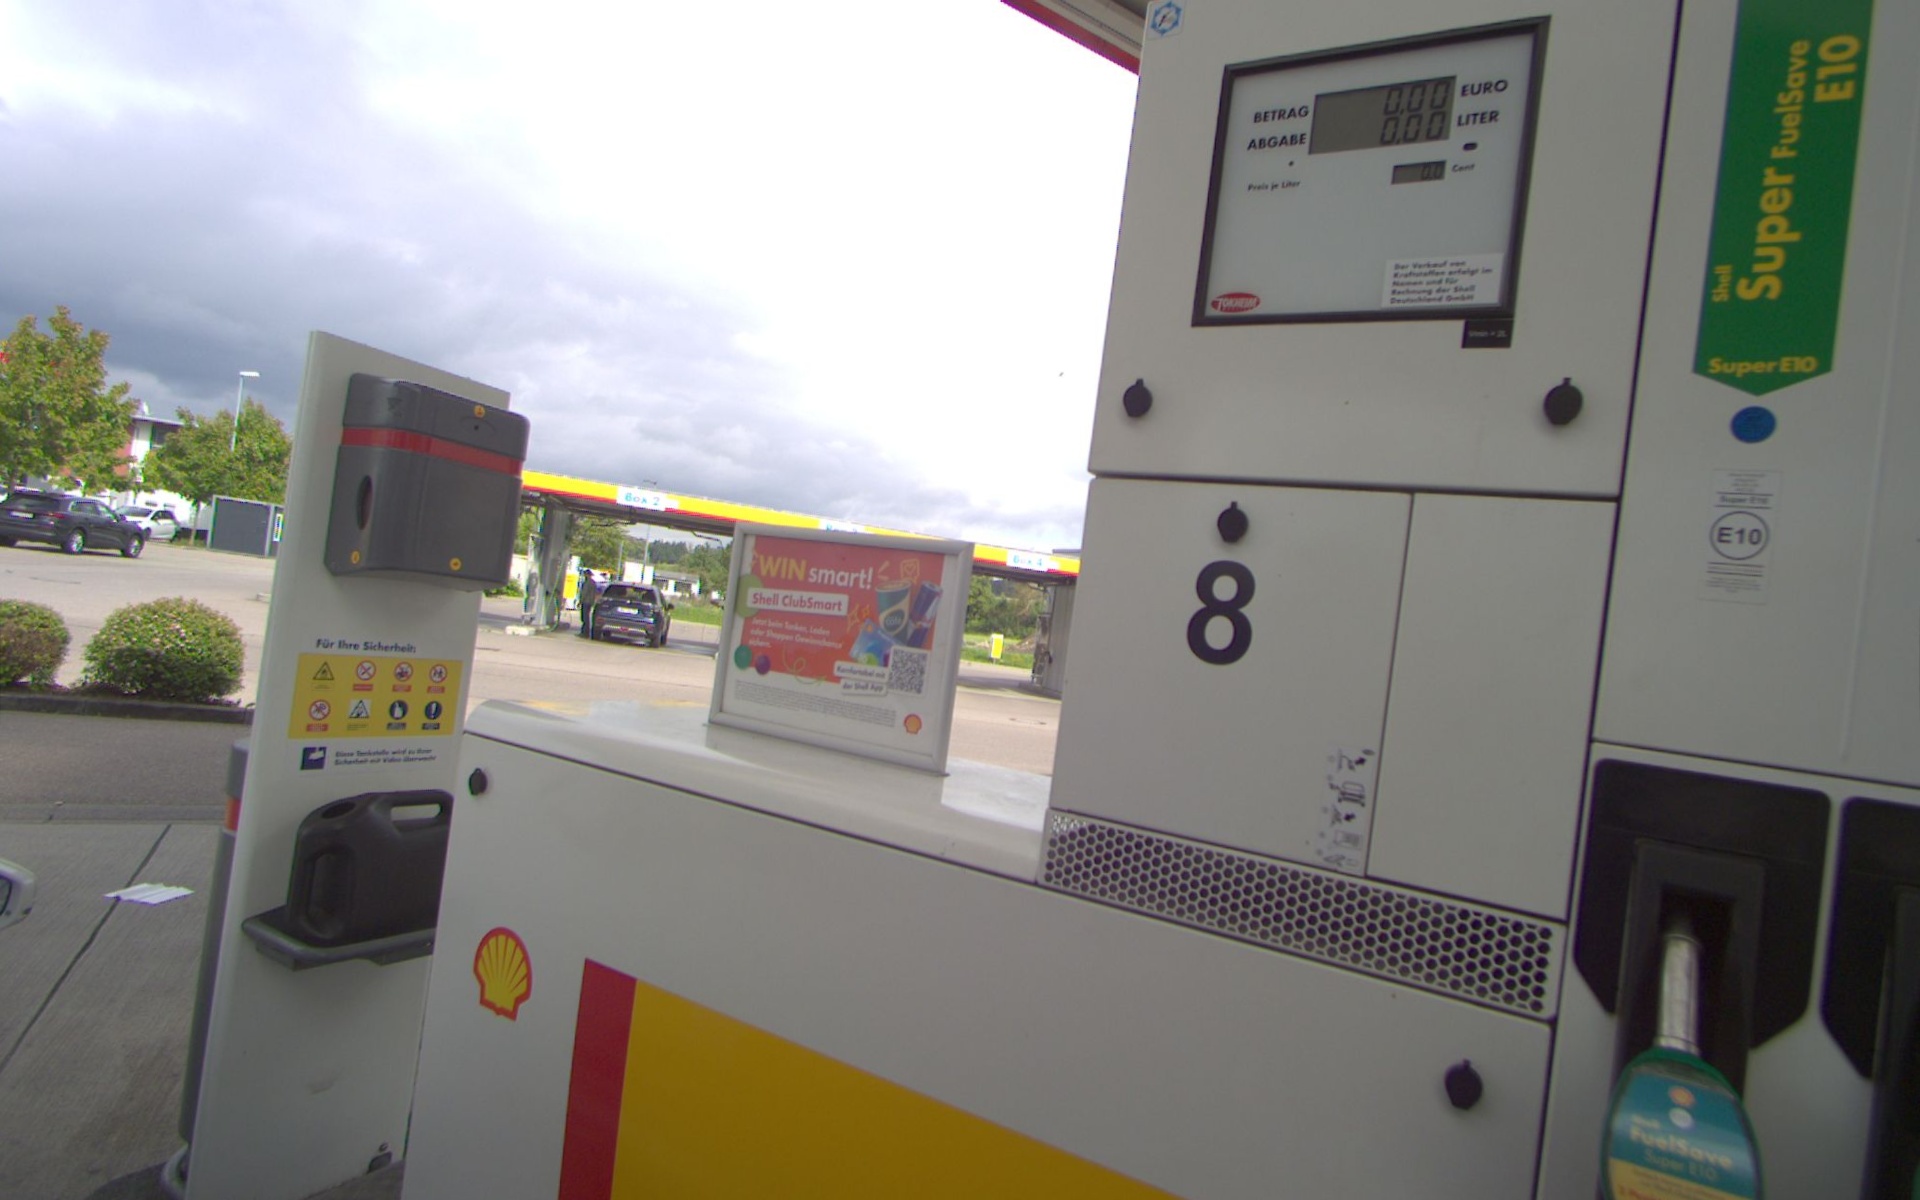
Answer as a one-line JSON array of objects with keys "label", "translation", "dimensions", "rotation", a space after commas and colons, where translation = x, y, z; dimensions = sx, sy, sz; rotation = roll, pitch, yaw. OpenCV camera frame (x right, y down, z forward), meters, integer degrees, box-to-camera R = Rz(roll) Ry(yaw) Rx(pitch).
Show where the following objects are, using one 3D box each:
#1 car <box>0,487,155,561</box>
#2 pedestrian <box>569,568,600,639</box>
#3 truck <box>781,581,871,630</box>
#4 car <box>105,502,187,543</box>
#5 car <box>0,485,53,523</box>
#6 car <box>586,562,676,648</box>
[{"label": "car", "translation": [-25.923, -2.170, 29.257], "dimensions": [1.855, 1.566, 4.498], "rotation": [8, -2, -10]}, {"label": "pedestrian", "translation": [-9.733, 0.093, 26.084], "dimensions": [0.550, 1.742, 0.526], "rotation": [7, -1, -21]}, {"label": "truck", "translation": [-13.011, 0.562, 97.503], "dimensions": [7.978, 3.575, 2.687], "rotation": [8, -2, -19]}, {"label": "car", "translation": [-35.253, -3.341, 43.643], "dimensions": [1.346, 1.322, 3.098], "rotation": [8, -2, -12]}, {"label": "car", "translation": [-57.354, -5.904, 60.238], "dimensions": [2.149, 1.854, 4.870], "rotation": [8, -2, -11]}, {"label": "car", "translation": [-8.692, 0.149, 26.859], "dimensions": [1.696, 1.919, 3.800], "rotation": [8, -2, -12]}]
